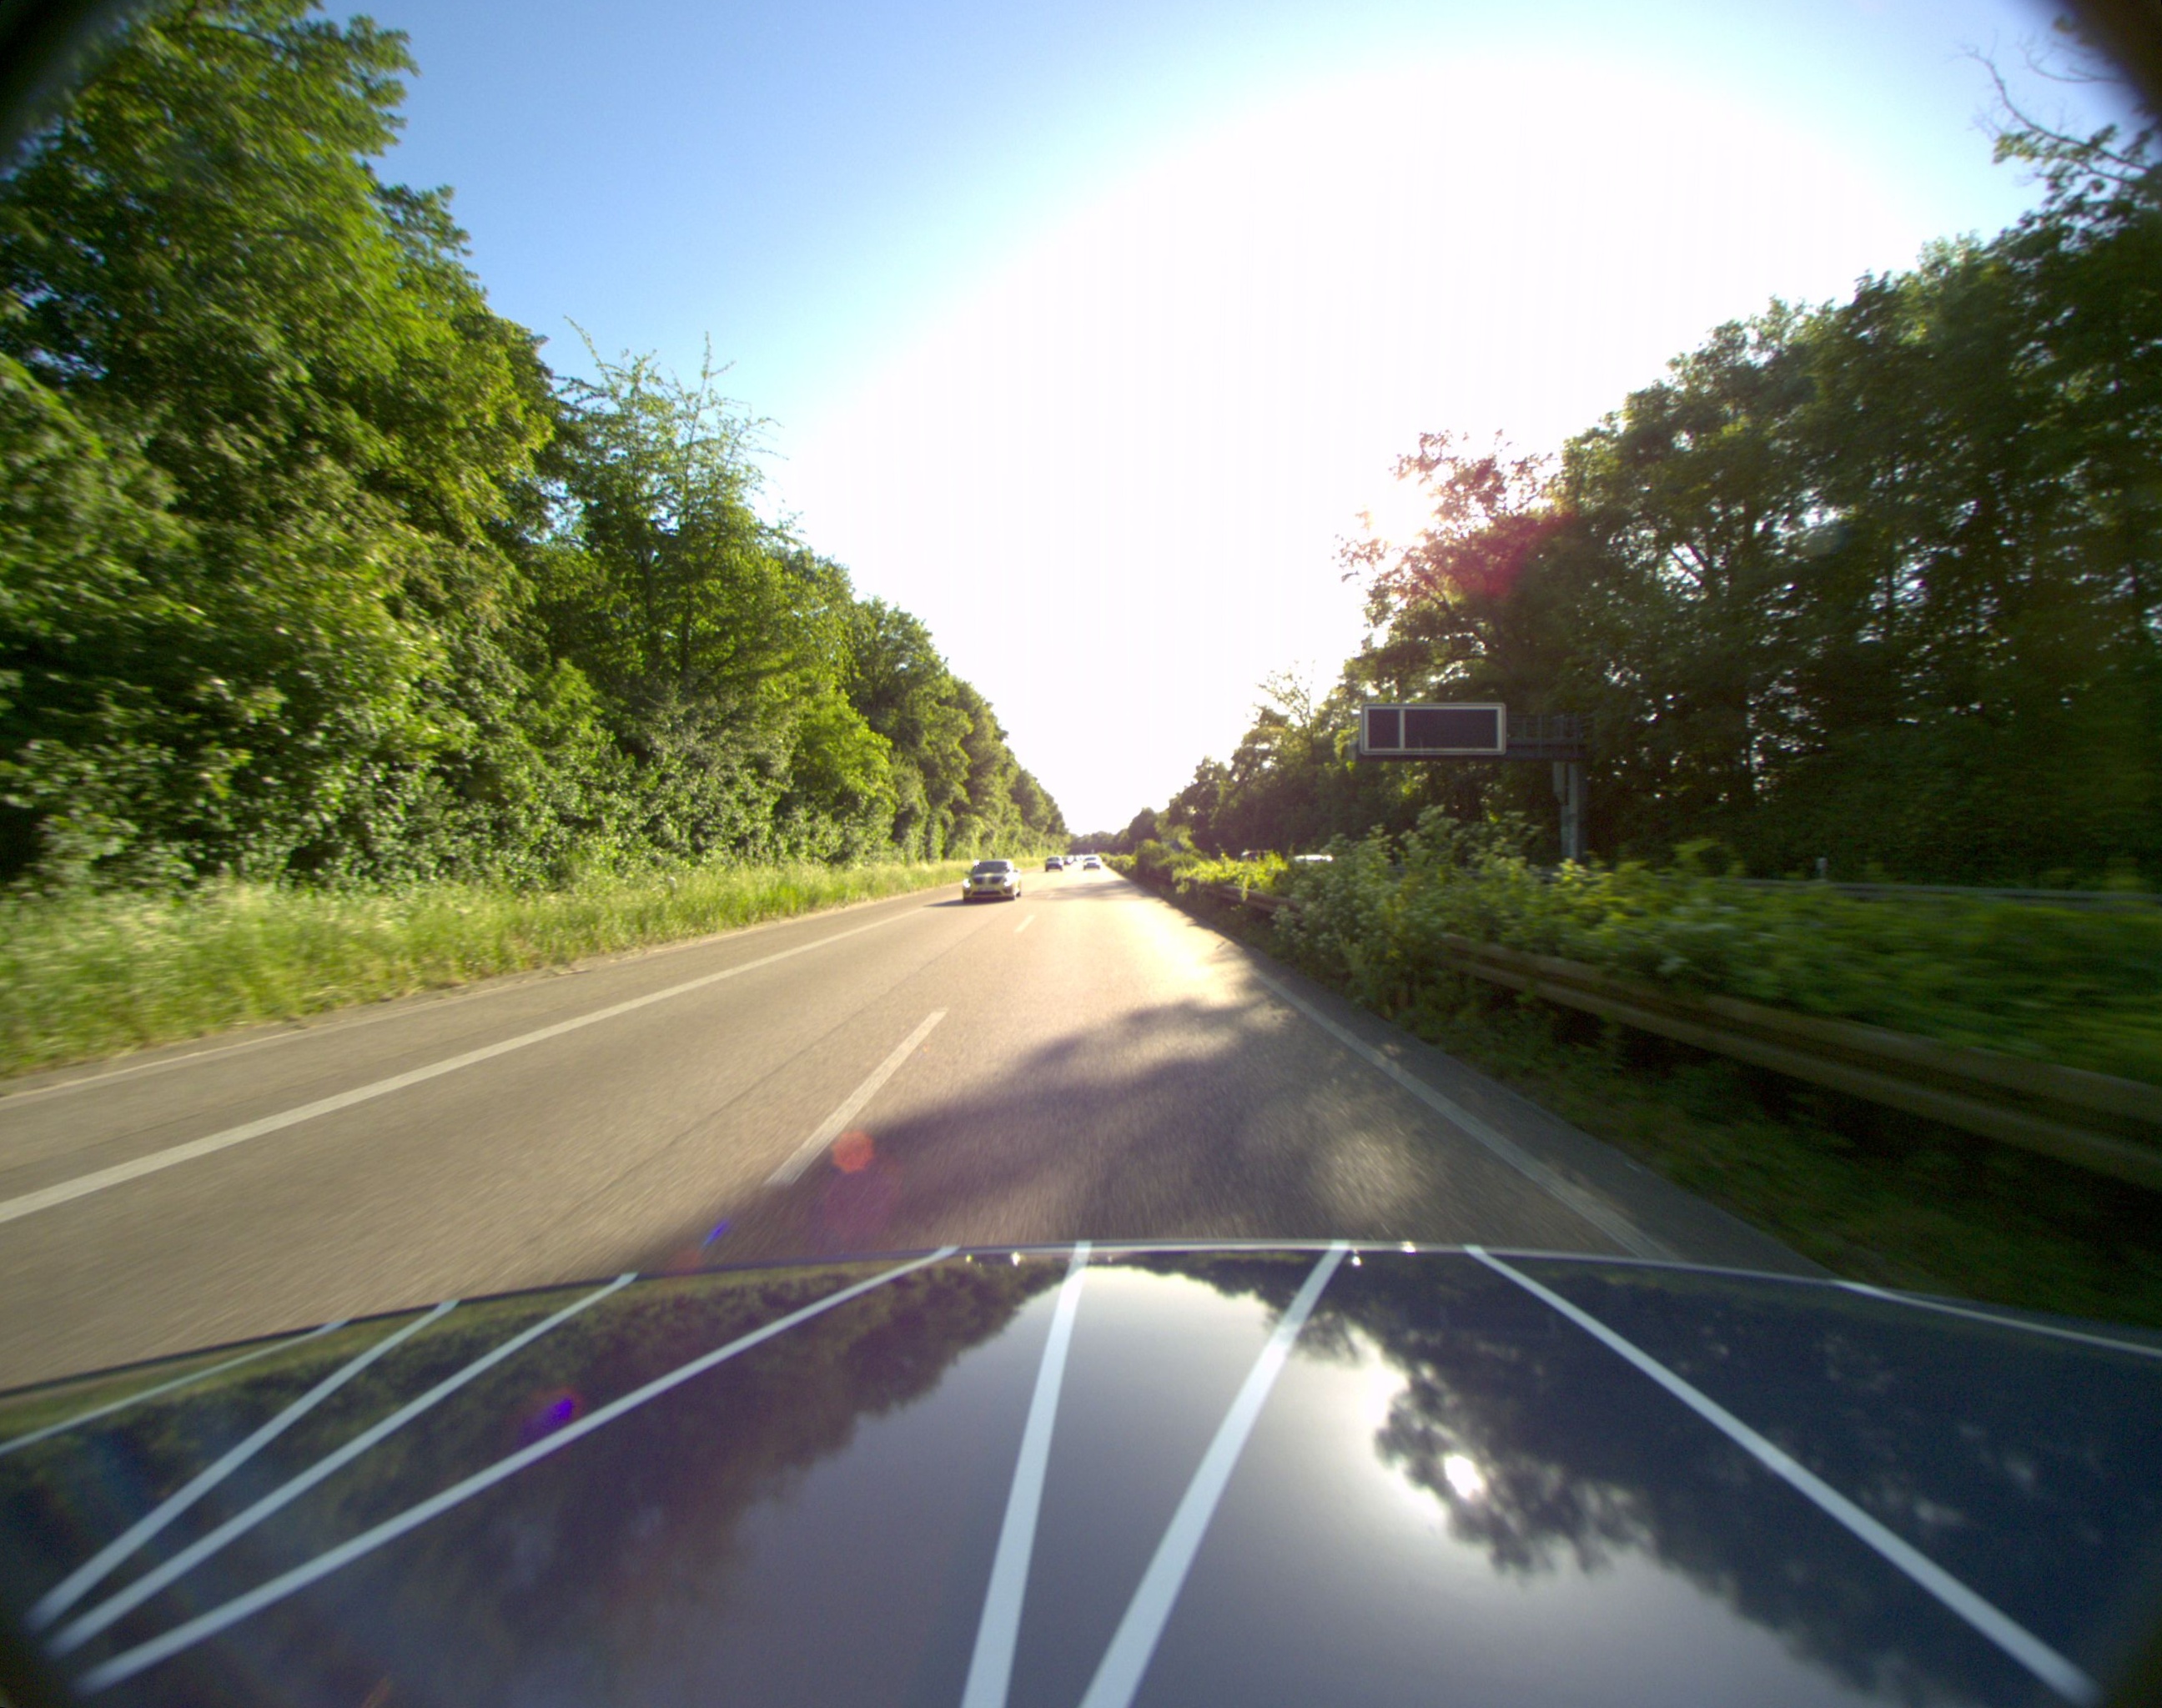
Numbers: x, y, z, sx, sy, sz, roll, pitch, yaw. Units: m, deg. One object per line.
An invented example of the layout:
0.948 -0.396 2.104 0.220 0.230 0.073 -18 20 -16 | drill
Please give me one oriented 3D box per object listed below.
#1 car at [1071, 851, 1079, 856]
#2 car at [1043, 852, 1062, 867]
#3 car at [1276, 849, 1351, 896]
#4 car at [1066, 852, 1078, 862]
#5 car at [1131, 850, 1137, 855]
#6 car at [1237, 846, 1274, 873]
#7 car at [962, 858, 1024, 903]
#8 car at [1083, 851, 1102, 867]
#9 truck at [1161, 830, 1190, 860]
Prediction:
-1.549 -0.139 197.355 1.794 1.440 3.877 -2 0 0 | car
-2.903 0.588 78.060 1.794 1.440 3.877 -2 0 0 | car
9.084 0.672 30.029 1.766 1.607 3.989 -2 1 1 | car
-1.423 0.413 118.873 1.794 1.440 3.877 -2 0 0 | car
16.609 -0.473 238.324 1.649 1.215 4.262 -1 0 1 | car
12.830 0.350 56.079 1.721 1.800 4.525 -2 1 1 | car
-3.163 0.927 28.062 1.794 1.440 3.877 -2 0 0 | car
1.180 0.497 77.566 1.890 1.440 3.878 -2 0 1 | car
13.582 -1.324 109.971 2.776 3.933 11.465 -2 1 1 | truck
